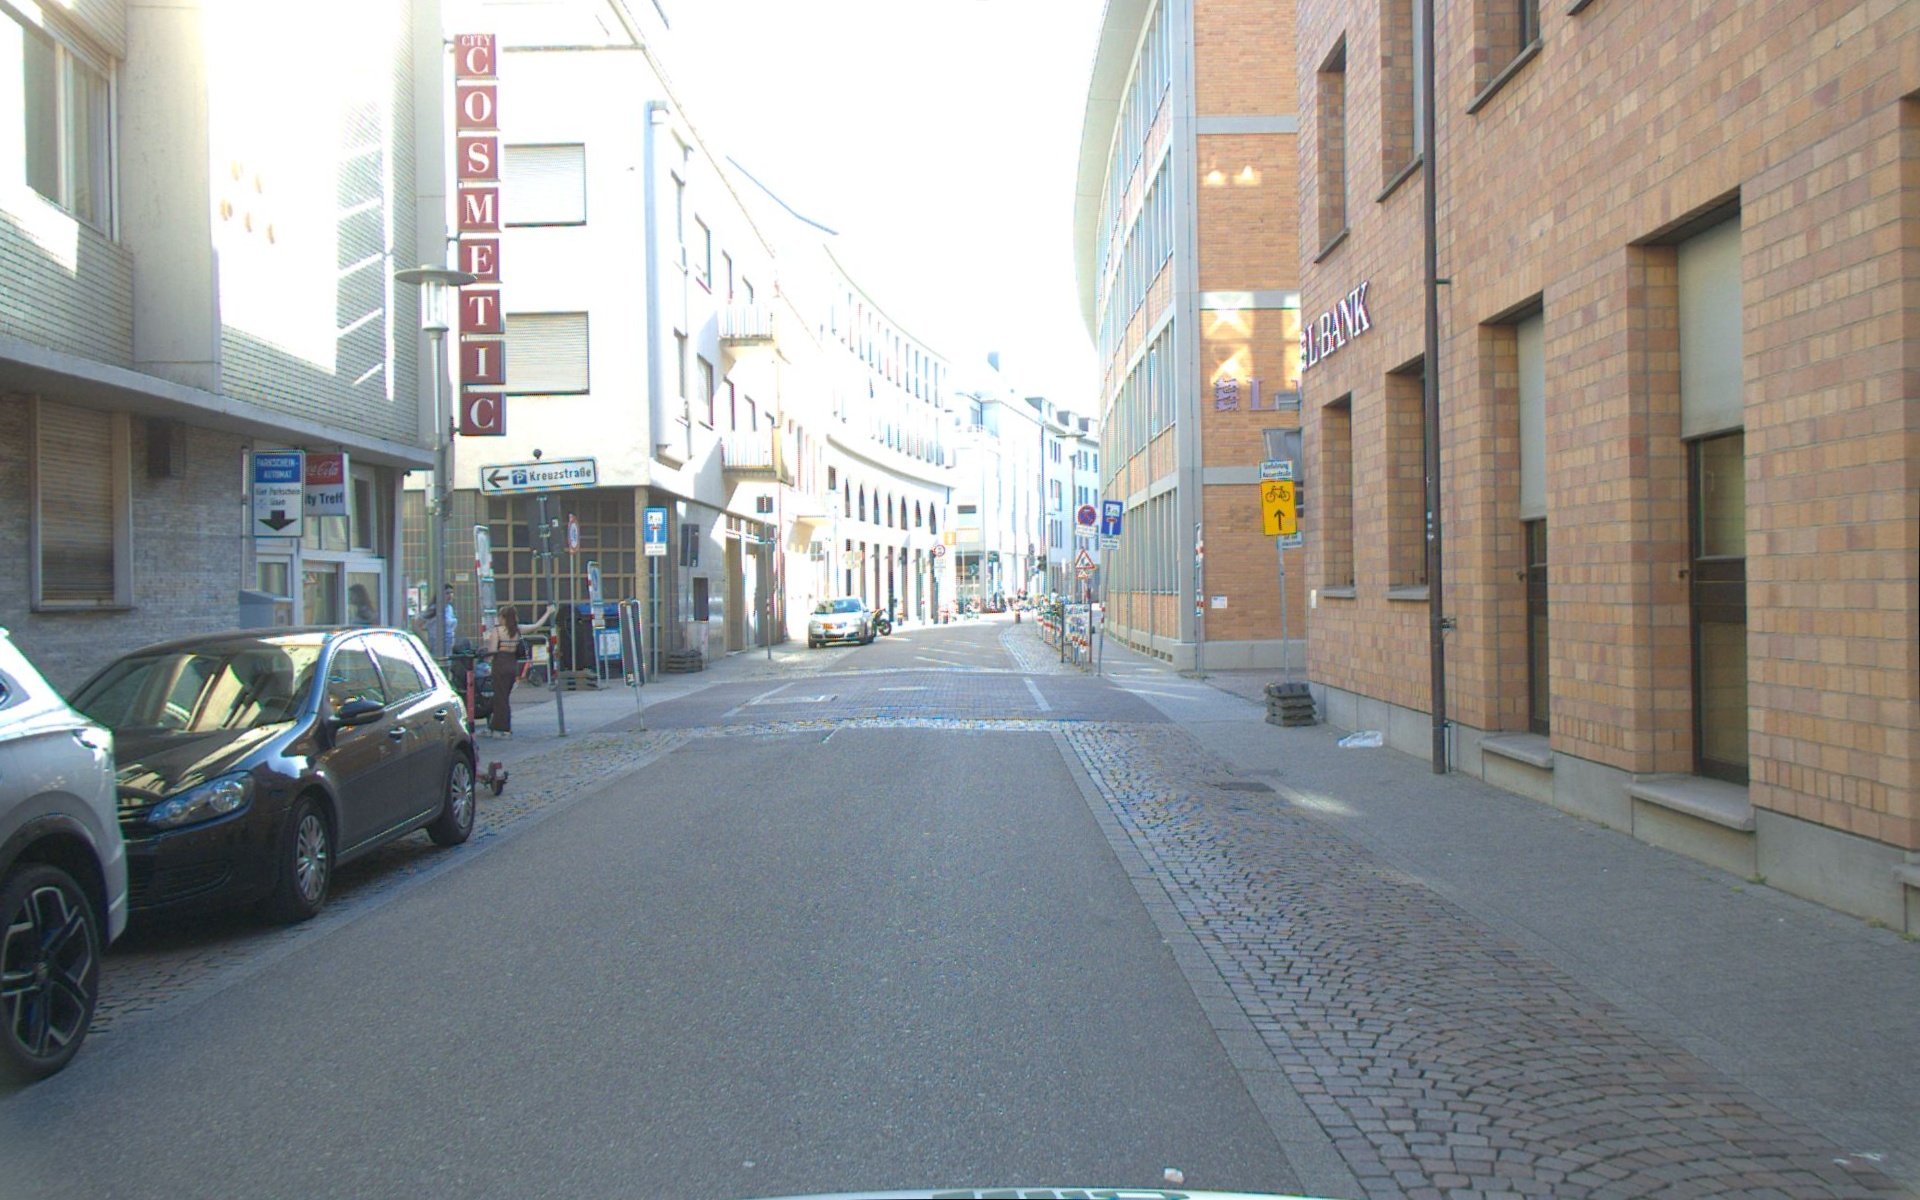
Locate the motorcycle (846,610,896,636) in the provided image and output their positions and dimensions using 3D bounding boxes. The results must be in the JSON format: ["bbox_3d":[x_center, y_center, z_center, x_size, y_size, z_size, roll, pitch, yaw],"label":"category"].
[{"bbox_3d":[-3.061,0.781,57.134,1.655,0.874,0.595,1,-1,5],"label":"motorcycle"}]

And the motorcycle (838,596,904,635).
[{"bbox_3d":[-3.262,0.557,60.842,2.342,1.340,0.862,-2,0,0],"label":"motorcycle"}]

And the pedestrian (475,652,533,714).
[{"bbox_3d":[-5.818,1.050,21.087,0.576,0.727,0.640,-1,0,-30],"label":"pedestrian"}]

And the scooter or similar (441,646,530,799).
[{"bbox_3d":[-4.076,1.028,14.171,0.408,1.218,1.110,-5,1,-28],"label":"scooter or similar"}]

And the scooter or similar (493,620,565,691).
[{"bbox_3d":[-7.848,1.013,30.114,1.133,1.228,0.480,-2,0,0],"label":"scooter or similar"}]

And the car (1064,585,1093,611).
[{"bbox_3d":[8.017,-0.132,111.764,1.699,1.634,3.536,-2,0,8],"label":"car"}]

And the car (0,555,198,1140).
[{"bbox_3d":[-3.861,0.785,4.078,1.851,1.772,4.391,-2,1,0],"label":"car"}]

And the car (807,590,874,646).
[{"bbox_3d":[-3.540,0.512,49.641,1.701,1.634,3.533,0,0,1],"label":"car"}]

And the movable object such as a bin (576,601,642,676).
[{"bbox_3d":[-6.902,0.749,32.497,0.869,1.444,0.928,0,-1,43],"label":"movable object such as a bin"}]

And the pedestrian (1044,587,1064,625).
[{"bbox_3d":[4.721,0.288,82.999,0.652,1.901,0.778,1,-1,-30],"label":"pedestrian"}]

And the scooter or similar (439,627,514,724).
[{"bbox_3d":[-6.100,0.942,20.859,0.781,1.182,0.629,1,-1,-30],"label":"scooter or similar"}]

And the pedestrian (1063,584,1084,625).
[{"bbox_3d":[5.329,0.200,77.725,0.652,1.901,0.753,1,-1,-30],"label":"pedestrian"}]

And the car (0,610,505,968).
[{"bbox_3d":[-3.997,0.872,9.390,1.615,1.486,3.999,-4,0,0],"label":"car"}]

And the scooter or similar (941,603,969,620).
[{"bbox_3d":[-0.283,0.636,92.735,0.515,0.944,2.223,0,0,30],"label":"scooter or similar"}]

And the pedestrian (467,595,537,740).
[{"bbox_3d":[-5.341,0.774,19.292,0.641,1.654,0.450,-1,0,-42],"label":"pedestrian"}]

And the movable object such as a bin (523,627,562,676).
[{"bbox_3d":[-8.032,0.983,31.829,0.516,0.917,0.533,0,-1,43],"label":"movable object such as a bin"}]

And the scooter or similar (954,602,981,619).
[{"bbox_3d":[0.450,0.626,96.077,0.515,0.944,2.223,0,0,30],"label":"scooter or similar"}]

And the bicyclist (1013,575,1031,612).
[{"bbox_3d":[4.125,-0.437,109.980,1.067,2.431,0.742,1,-1,13],"label":"bicyclist"}]

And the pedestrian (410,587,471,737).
[{"bbox_3d":[-6.268,0.735,19.966,0.438,1.769,0.552,-1,0,23],"label":"pedestrian"}]

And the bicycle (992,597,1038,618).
[{"bbox_3d":[3.664,0.511,110.074,3.022,1.378,0.702,1,-1,13],"label":"bicycle"}]
